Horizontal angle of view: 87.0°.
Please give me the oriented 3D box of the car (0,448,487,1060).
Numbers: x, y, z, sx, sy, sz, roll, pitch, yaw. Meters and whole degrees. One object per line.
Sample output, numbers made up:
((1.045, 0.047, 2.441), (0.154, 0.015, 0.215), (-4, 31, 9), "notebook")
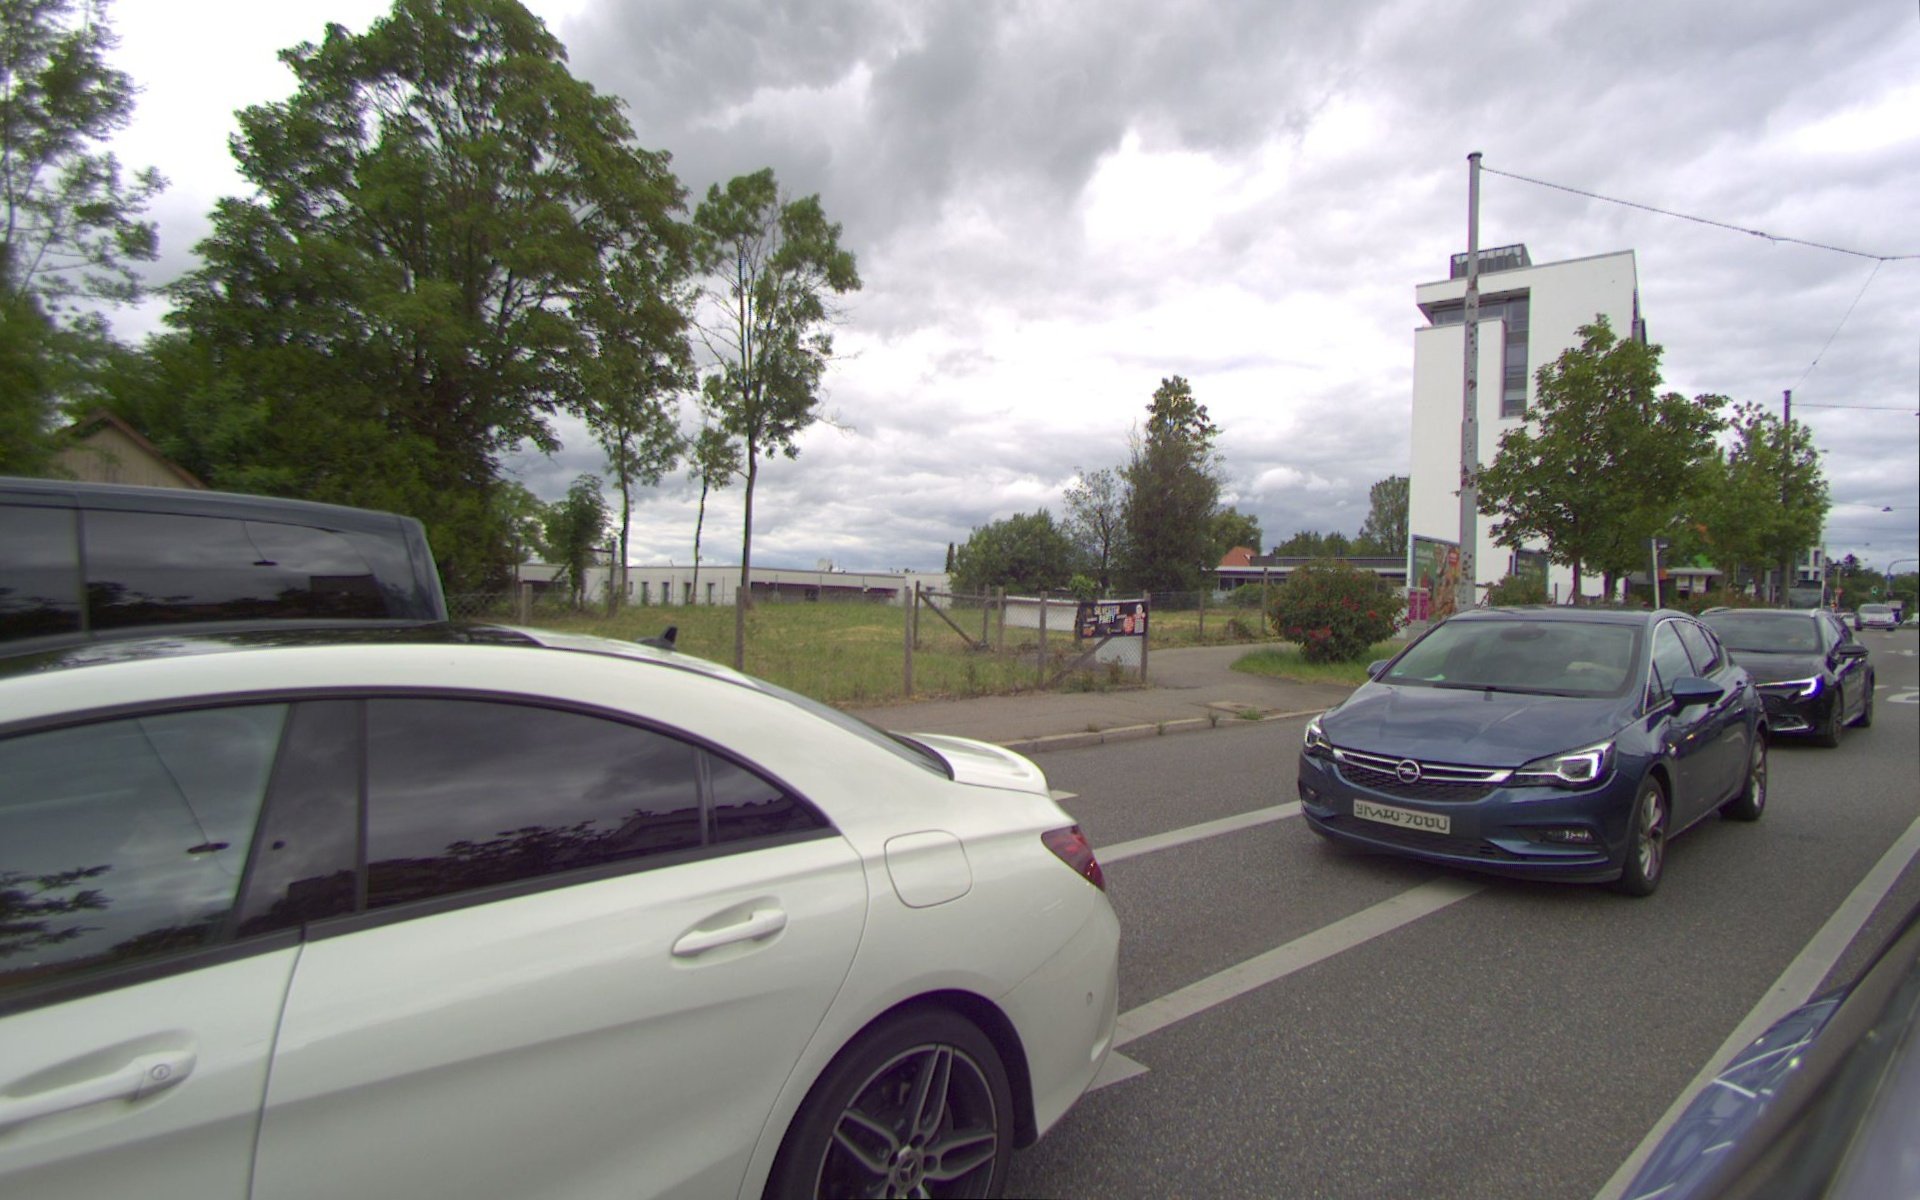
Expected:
((-4.243, 0.475, 3.226), (4.627, 1.863, 1.952), (0, -1, -41), "car")

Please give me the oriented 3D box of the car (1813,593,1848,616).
((73.013, 0.377, 84.924), (1.841, 1.910, 4.083), (-1, -1, 36), "car")

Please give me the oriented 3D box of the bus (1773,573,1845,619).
((53.958, -0.305, 64.571), (2.952, 2.664, 11.986), (0, 1, 37), "bus")

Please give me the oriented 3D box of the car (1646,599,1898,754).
((9.398, 0.730, 11.611), (3.854, 1.475, 1.663), (0, 0, -42), "car")

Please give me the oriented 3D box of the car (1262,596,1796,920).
((3.810, 0.693, 6.482), (3.931, 1.428, 1.825), (0, 0, -42), "car")

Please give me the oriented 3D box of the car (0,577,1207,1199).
((-1.537, 0.697, 1.815), (4.300, 1.451, 1.652), (0, 1, -41), "car")

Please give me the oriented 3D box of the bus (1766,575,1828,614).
((61.425, -0.439, 74.470), (2.952, 2.664, 12.751), (0, 1, 37), "bus")

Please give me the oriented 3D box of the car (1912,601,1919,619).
((100.096, 1.048, 104.185), (1.981, 1.844, 3.963), (1, 1, 27), "car")

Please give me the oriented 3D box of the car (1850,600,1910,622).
((84.195, 0.983, 92.673), (3.918, 1.844, 2.003), (1, 1, -8), "car")

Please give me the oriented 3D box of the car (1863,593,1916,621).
((55.279, 0.405, 60.213), (1.841, 1.637, 3.734), (-1, -1, 36), "car")
